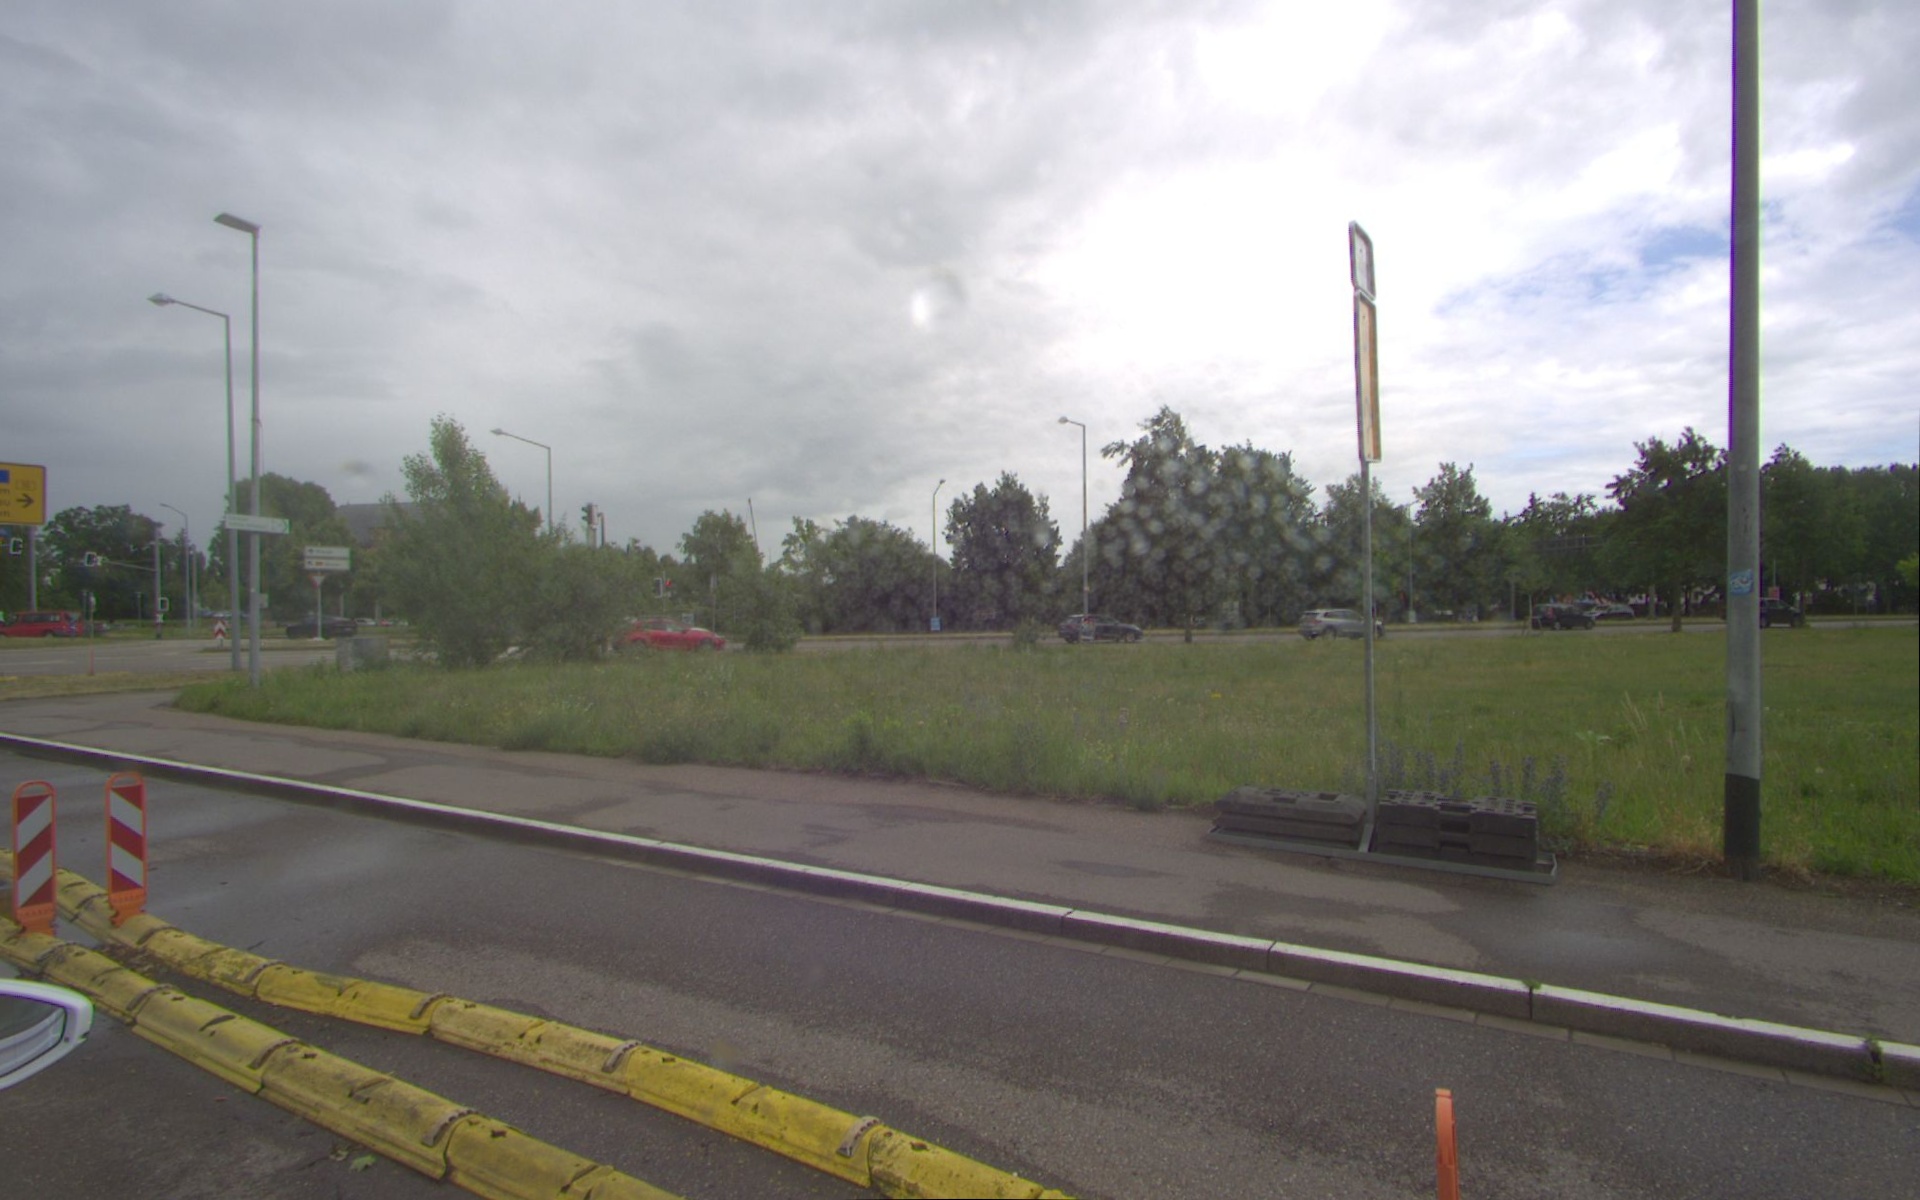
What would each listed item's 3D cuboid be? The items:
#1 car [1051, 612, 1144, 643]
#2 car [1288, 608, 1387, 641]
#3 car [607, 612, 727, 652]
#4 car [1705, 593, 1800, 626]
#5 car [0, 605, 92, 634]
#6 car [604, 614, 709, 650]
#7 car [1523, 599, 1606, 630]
[{"bbox_3d":[6.891,1.342,50.398,4.243,1.483,1.997,0,0,-14],"label":"car"},{"bbox_3d":[19.168,1.219,50.887,4.453,1.604,1.996,0,0,-18],"label":"car"},{"bbox_3d":[-11.760,1.239,40.223,4.296,1.483,1.989,0,0,-31],"label":"car"},{"bbox_3d":[49.254,0.593,62.246,4.953,1.998,2.219,0,0,-17],"label":"car"},{"bbox_3d":[-63.679,1.351,69.521,4.796,1.943,2.115,0,0,-5],"label":"car"},{"bbox_3d":[-13.102,1.374,43.422,4.279,1.483,1.858,0,0,-16],"label":"car"},{"bbox_3d":[37.584,0.893,62.315,4.131,1.837,2.075,0,0,-13],"label":"car"}]
